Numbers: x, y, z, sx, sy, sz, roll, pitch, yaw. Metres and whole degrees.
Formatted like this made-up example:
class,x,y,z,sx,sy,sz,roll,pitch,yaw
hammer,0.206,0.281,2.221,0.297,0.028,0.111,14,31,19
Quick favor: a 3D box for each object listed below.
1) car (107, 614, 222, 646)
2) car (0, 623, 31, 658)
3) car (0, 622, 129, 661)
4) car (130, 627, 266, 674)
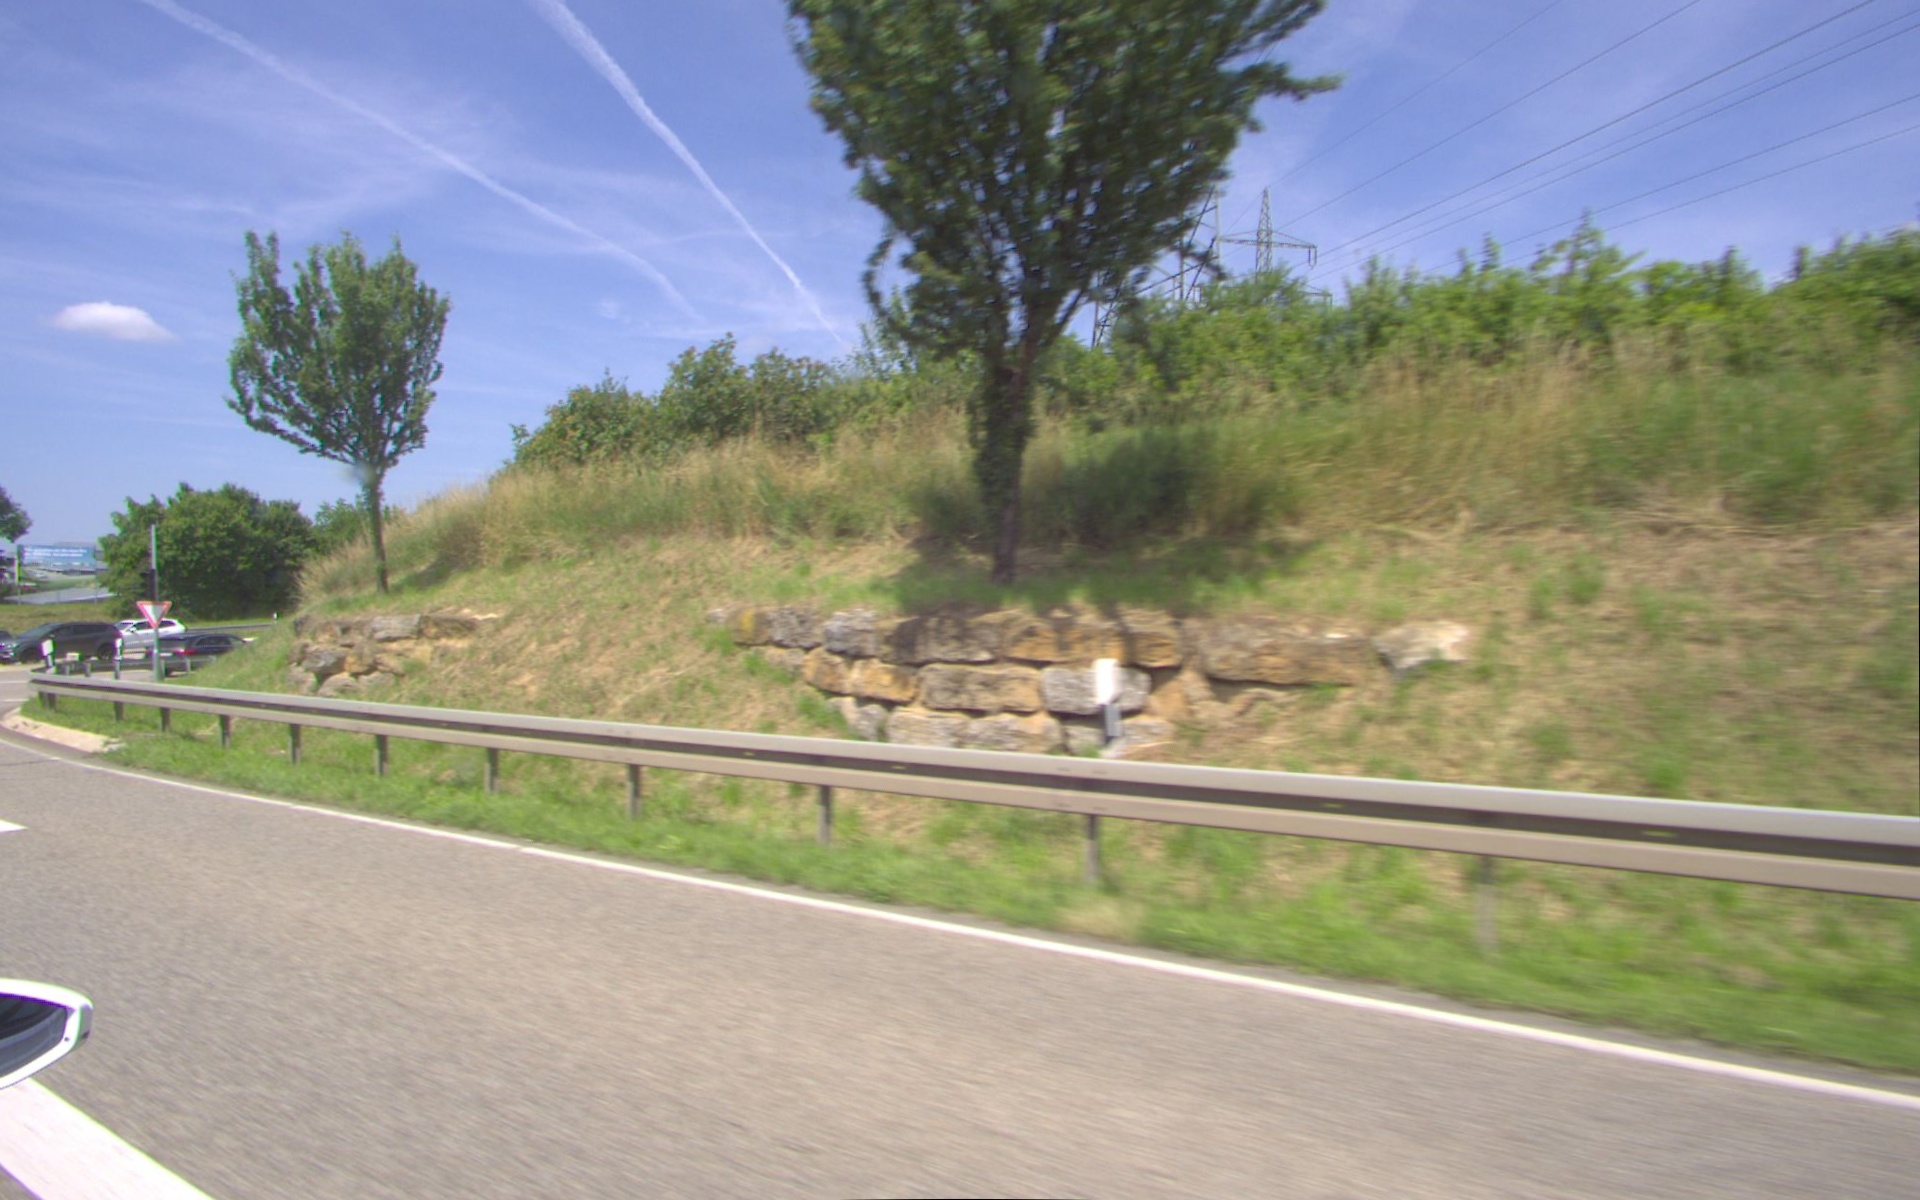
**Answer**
class,x,y,z,sx,sy,sz,roll,pitch,yaw
car,-41.291,1.541,52.101,1.750,1.613,4.360,-1,-1,23
car,-43.931,1.808,44.156,1.688,1.530,3.989,-1,-1,23
car,-37.984,1.716,42.120,1.687,1.530,4.362,-1,-1,22
car,-26.907,1.759,35.558,1.717,1.551,4.300,0,-2,-3
